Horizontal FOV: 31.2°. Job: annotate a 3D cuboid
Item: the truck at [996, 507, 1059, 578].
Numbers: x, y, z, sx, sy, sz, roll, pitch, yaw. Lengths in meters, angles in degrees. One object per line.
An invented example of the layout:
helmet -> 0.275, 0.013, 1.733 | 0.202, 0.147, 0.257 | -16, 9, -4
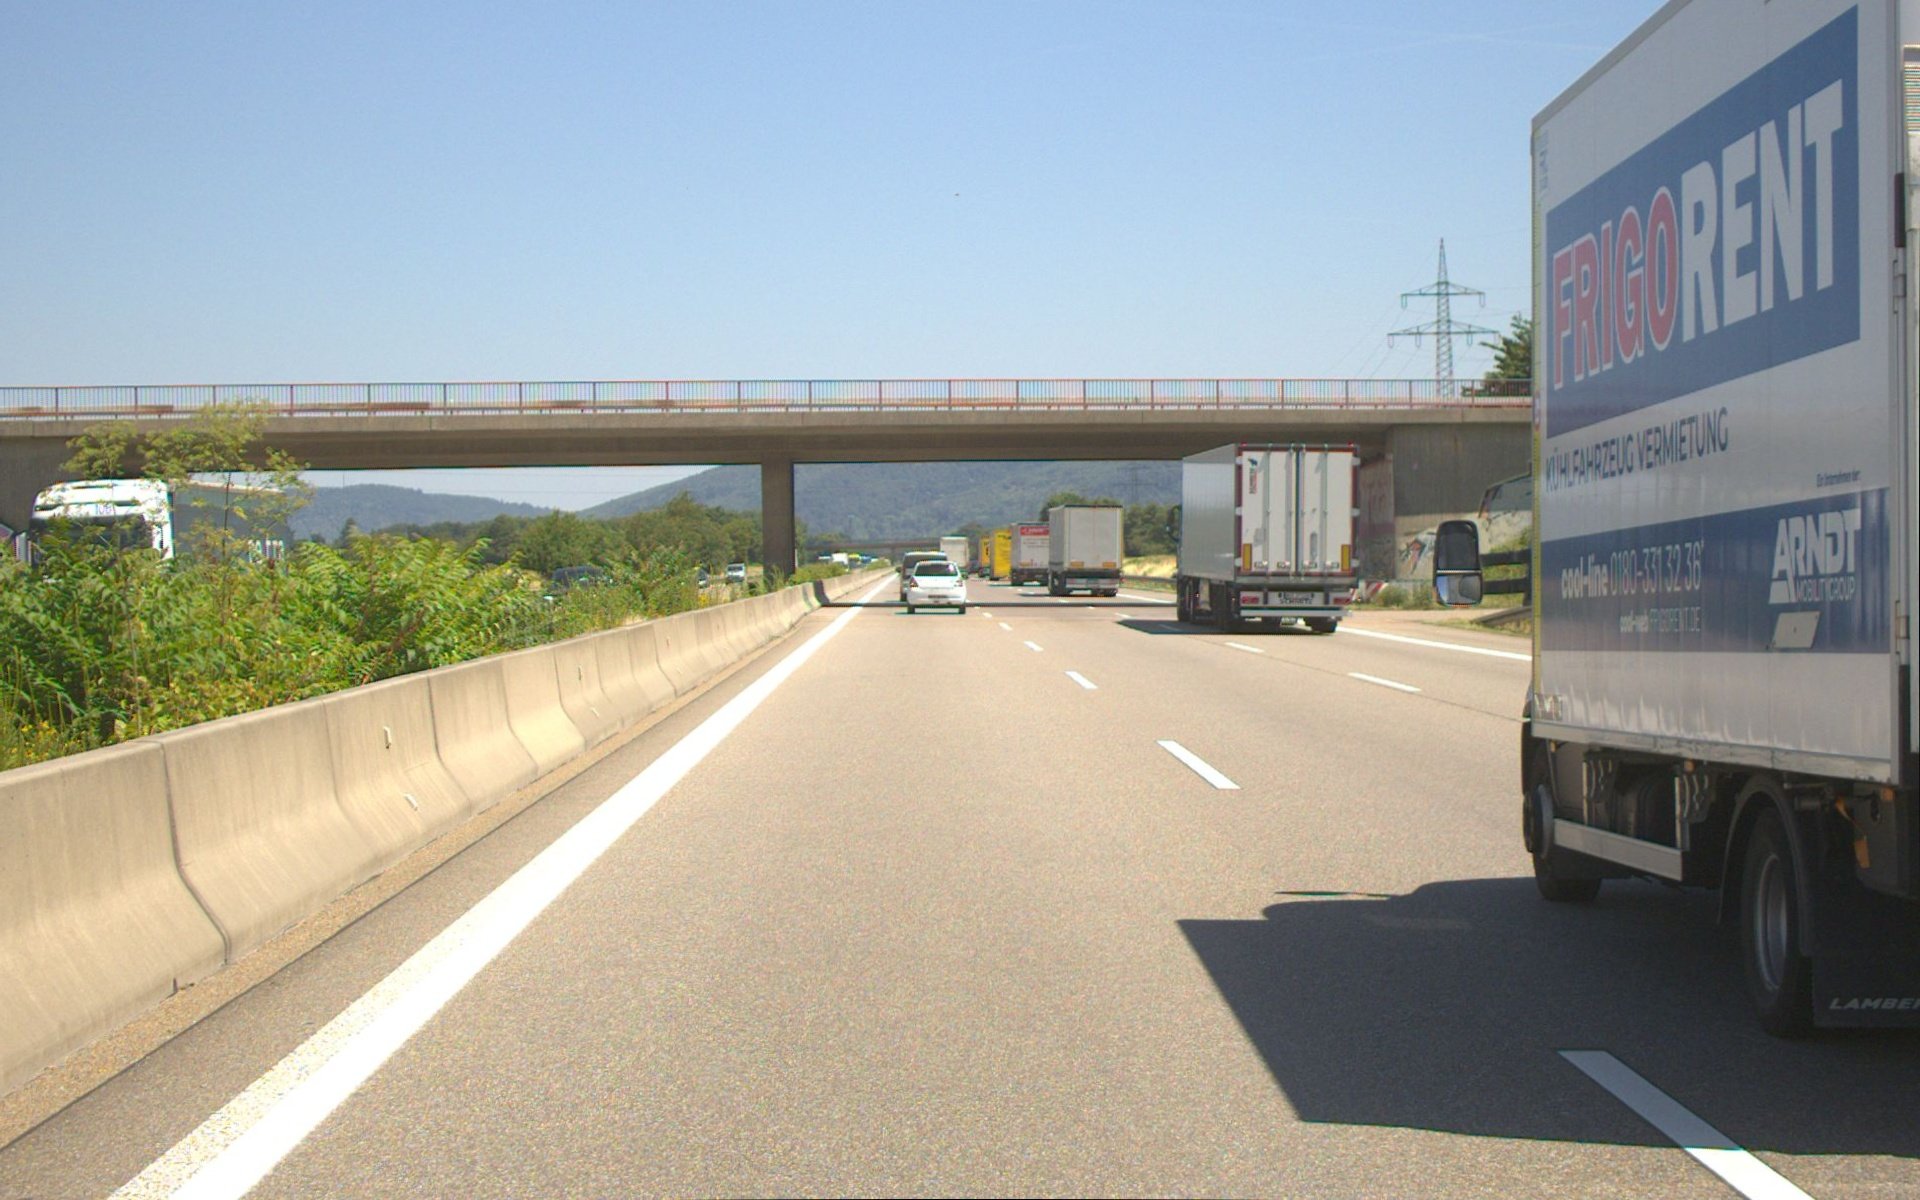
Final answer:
truck -> 4.345, -3.719, 223.362 | 3.520, 4.401, 14.592 | -1, 1, -1

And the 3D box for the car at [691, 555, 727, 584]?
car -> -14.895, -1.814, 204.321 | 1.805, 1.667, 4.000 | -1, 1, 0

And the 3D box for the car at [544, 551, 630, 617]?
car -> -10.378, -0.454, 95.824 | 1.908, 1.731, 4.122 | -2, 1, 0

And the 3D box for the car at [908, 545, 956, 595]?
car -> -1.062, -1.145, 130.394 | 1.761, 1.844, 4.000 | 0, 1, 0

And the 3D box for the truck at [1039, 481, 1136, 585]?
truck -> 5.666, -2.984, 155.511 | 3.520, 4.401, 14.592 | -1, 1, -1

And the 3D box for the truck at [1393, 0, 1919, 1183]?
truck -> 3.544, -0.314, 12.393 | 2.782, 3.361, 8.128 | 0, 1, -1

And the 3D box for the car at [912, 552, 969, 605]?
car -> -0.550, -0.649, 99.481 | 1.607, 1.462, 4.000 | 0, 1, 0

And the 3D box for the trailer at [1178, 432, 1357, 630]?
trailer -> 6.903, -1.558, 79.164 | 2.795, 4.149, 13.956 | 0, 1, 0

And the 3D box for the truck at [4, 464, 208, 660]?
truck -> -18.217, -0.829, 73.691 | 2.834, 3.925, 5.825 | -2, 1, -1
